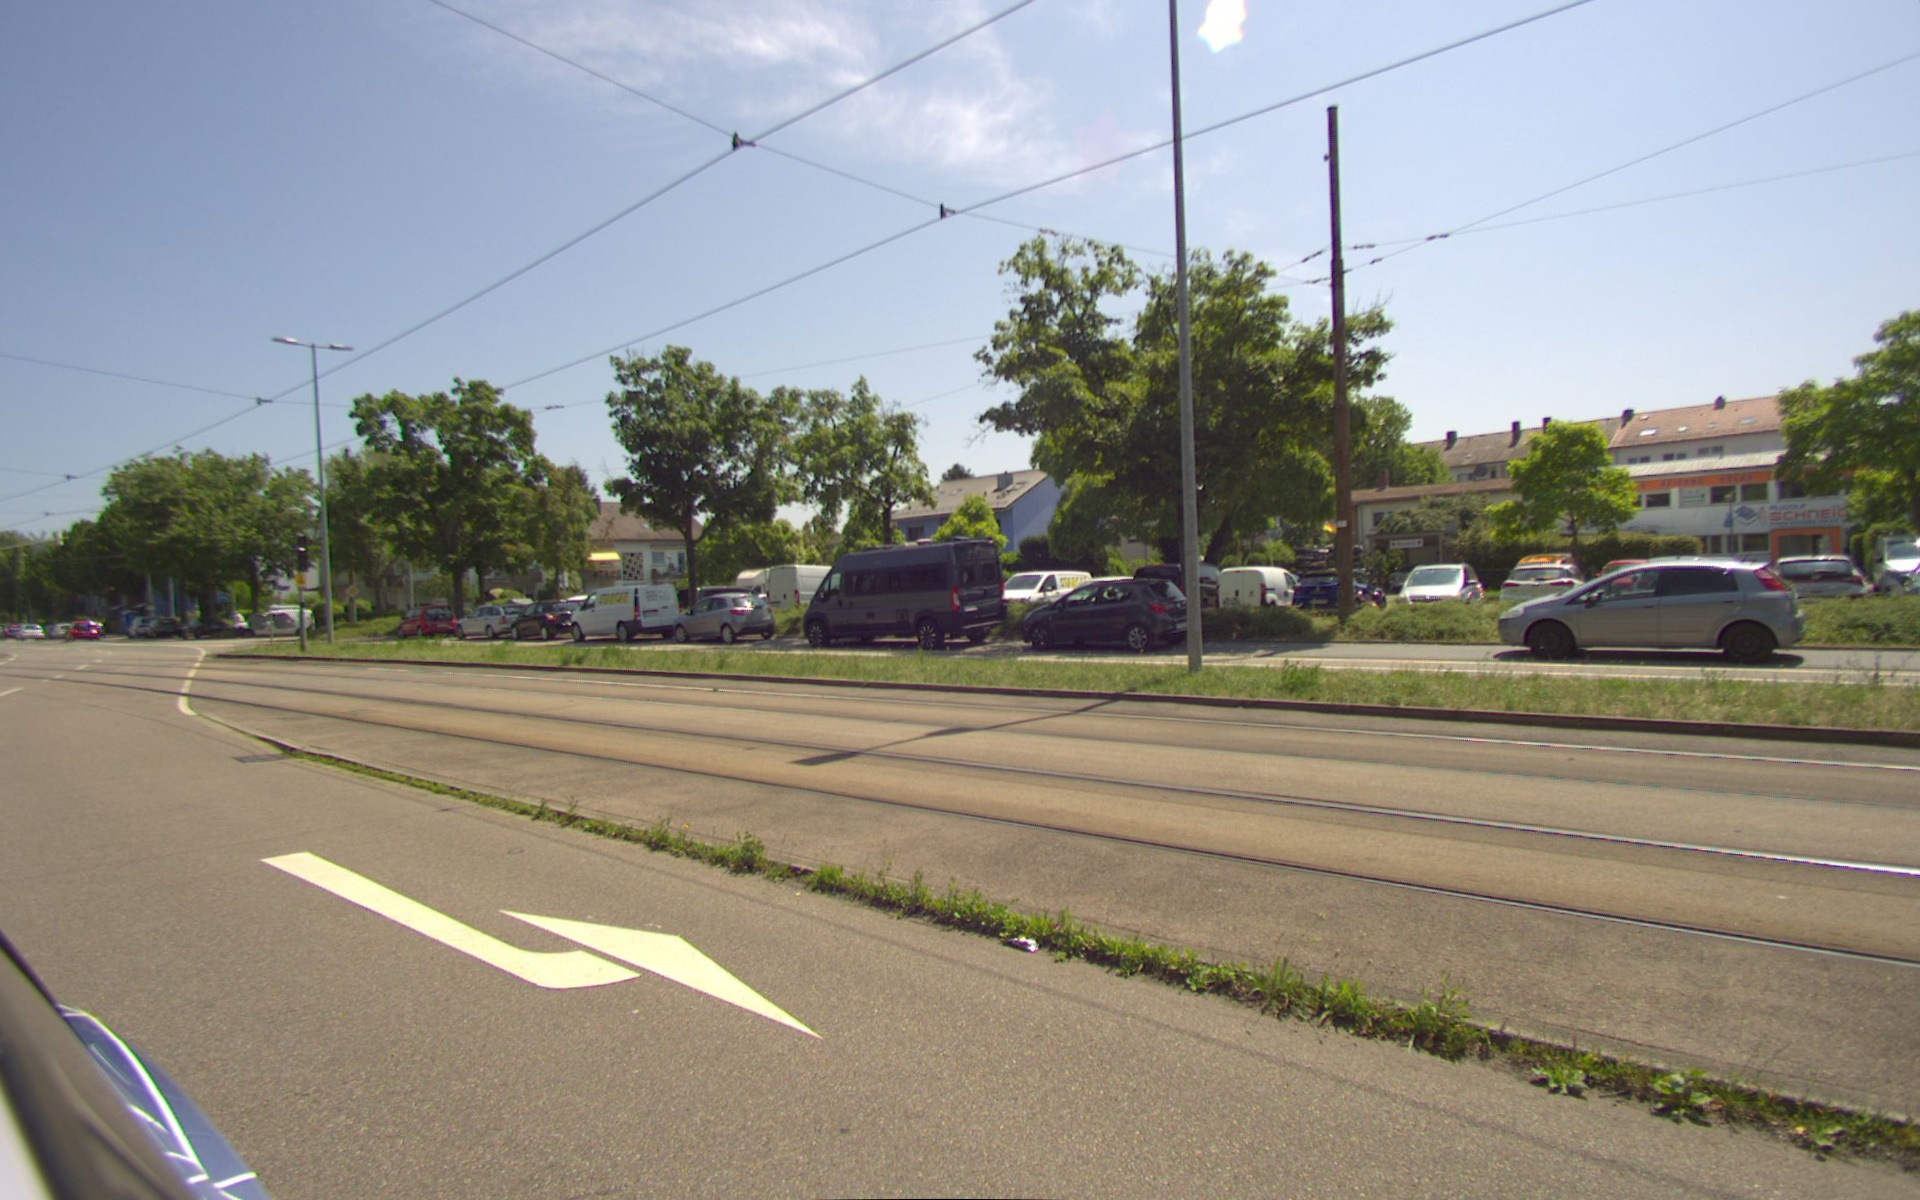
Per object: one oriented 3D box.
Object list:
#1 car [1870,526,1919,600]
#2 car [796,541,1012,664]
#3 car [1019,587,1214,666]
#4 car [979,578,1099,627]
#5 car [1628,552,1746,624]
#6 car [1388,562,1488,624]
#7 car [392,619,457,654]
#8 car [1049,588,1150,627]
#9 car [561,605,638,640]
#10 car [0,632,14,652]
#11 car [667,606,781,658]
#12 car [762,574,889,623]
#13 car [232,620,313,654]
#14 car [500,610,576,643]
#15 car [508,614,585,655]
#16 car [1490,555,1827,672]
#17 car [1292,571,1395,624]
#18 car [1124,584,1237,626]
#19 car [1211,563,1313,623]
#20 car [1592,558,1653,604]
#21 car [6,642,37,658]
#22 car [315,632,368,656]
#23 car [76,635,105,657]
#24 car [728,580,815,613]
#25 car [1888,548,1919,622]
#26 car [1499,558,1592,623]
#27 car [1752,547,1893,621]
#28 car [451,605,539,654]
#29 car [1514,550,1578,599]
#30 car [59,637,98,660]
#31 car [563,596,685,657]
[{"bbox_3d":[28.954,-1.080,30.376,2.225,2.085,5.056,-1,0,40],"label":"car"},{"bbox_3d":[-1.577,0.078,26.276,5.665,2.859,2.215,-1,0,41],"label":"car"},{"bbox_3d":[3.377,0.544,22.158,3.750,1.589,1.950,-1,0,41],"label":"car"},{"bbox_3d":[2.940,0.065,36.658,1.997,1.588,4.867,-2,1,38],"label":"car"},{"bbox_3d":[16.945,-0.302,23.772,2.018,1.501,4.117,-2,0,33],"label":"car"},{"bbox_3d":[12.937,-0.211,27.274,1.862,1.499,3.955,-2,0,33],"label":"car"},{"bbox_3d":[-24.563,1.636,46.404,3.423,1.491,1.561,-1,0,43],"label":"car"},{"bbox_3d":[4.788,0.225,34.337,1.732,1.152,3.951,-2,0,36],"label":"car"},{"bbox_3d":[-20.859,1.295,58.632,1.712,1.888,3.954,-1,0,34],"label":"car"},{"bbox_3d":[-94.849,4.123,99.969,3.754,1.933,1.757,-1,0,43],"label":"car"},{"bbox_3d":[-7.407,0.968,31.631,3.607,1.475,1.744,-1,0,42],"label":"car"},{"bbox_3d":[-5.653,-0.071,43.205,2.029,1.970,5.363,-1,0,42],"label":"car"},{"bbox_3d":[-43.249,2.302,63.690,4.144,2.005,1.826,-1,0,-35],"label":"car"},{"bbox_3d":[-25.406,1.566,61.033,1.712,1.888,3.954,-1,0,34],"label":"car"},{"bbox_3d":[-15.953,1.293,38.956,3.261,1.489,1.411,-1,0,41],"label":"car"},{"bbox_3d":[10.734,0.200,15.728,4.124,1.513,1.633,-2,4,41],"label":"car"},{"bbox_3d":[11.244,-0.065,29.554,1.794,1.417,3.951,-2,-1,36],"label":"car"},{"bbox_3d":[7.198,0.136,32.750,2.029,1.152,4.211,-2,0,36],"label":"car"},{"bbox_3d":[9.500,-0.236,31.618,1.794,1.730,3.951,-2,0,36],"label":"car"},{"bbox_3d":[23.602,-0.646,36.019,1.712,1.505,3.953,-1,0,35],"label":"car"},{"bbox_3d":[-83.731,4.458,90.285,3.754,1.328,1.757,-1,0,43],"label":"car"},{"bbox_3d":[-33.294,2.340,54.460,3.423,1.167,1.561,-1,0,43],"label":"car"},{"bbox_3d":[-82.798,4.362,96.358,3.983,1.867,1.681,-1,0,43],"label":"car"},{"bbox_3d":[-12.395,-0.248,66.820,2.145,2.078,5.675,-1,0,38],"label":"car"},{"bbox_3d":[20.648,-0.328,20.614,1.908,1.501,3.995,-1,0,33],"label":"car"},{"bbox_3d":[15.058,-0.259,25.929,1.827,1.501,4.030,-2,0,33],"label":"car"},{"bbox_3d":[19.104,-0.328,22.601,1.855,1.501,4.100,-1,0,33],"label":"car"},{"bbox_3d":[-19.430,1.213,42.177,4.494,1.907,1.614,-1,0,41],"label":"car"},{"bbox_3d":[21.546,-0.922,37.124,1.689,1.665,4.082,-2,0,34],"label":"car"},{"bbox_3d":[-65.346,3.574,75.024,3.423,1.491,1.796,-1,0,43],"label":"car"},{"bbox_3d":[-11.775,0.888,35.338,4.816,1.963,1.899,-1,0,42],"label":"car"}]
